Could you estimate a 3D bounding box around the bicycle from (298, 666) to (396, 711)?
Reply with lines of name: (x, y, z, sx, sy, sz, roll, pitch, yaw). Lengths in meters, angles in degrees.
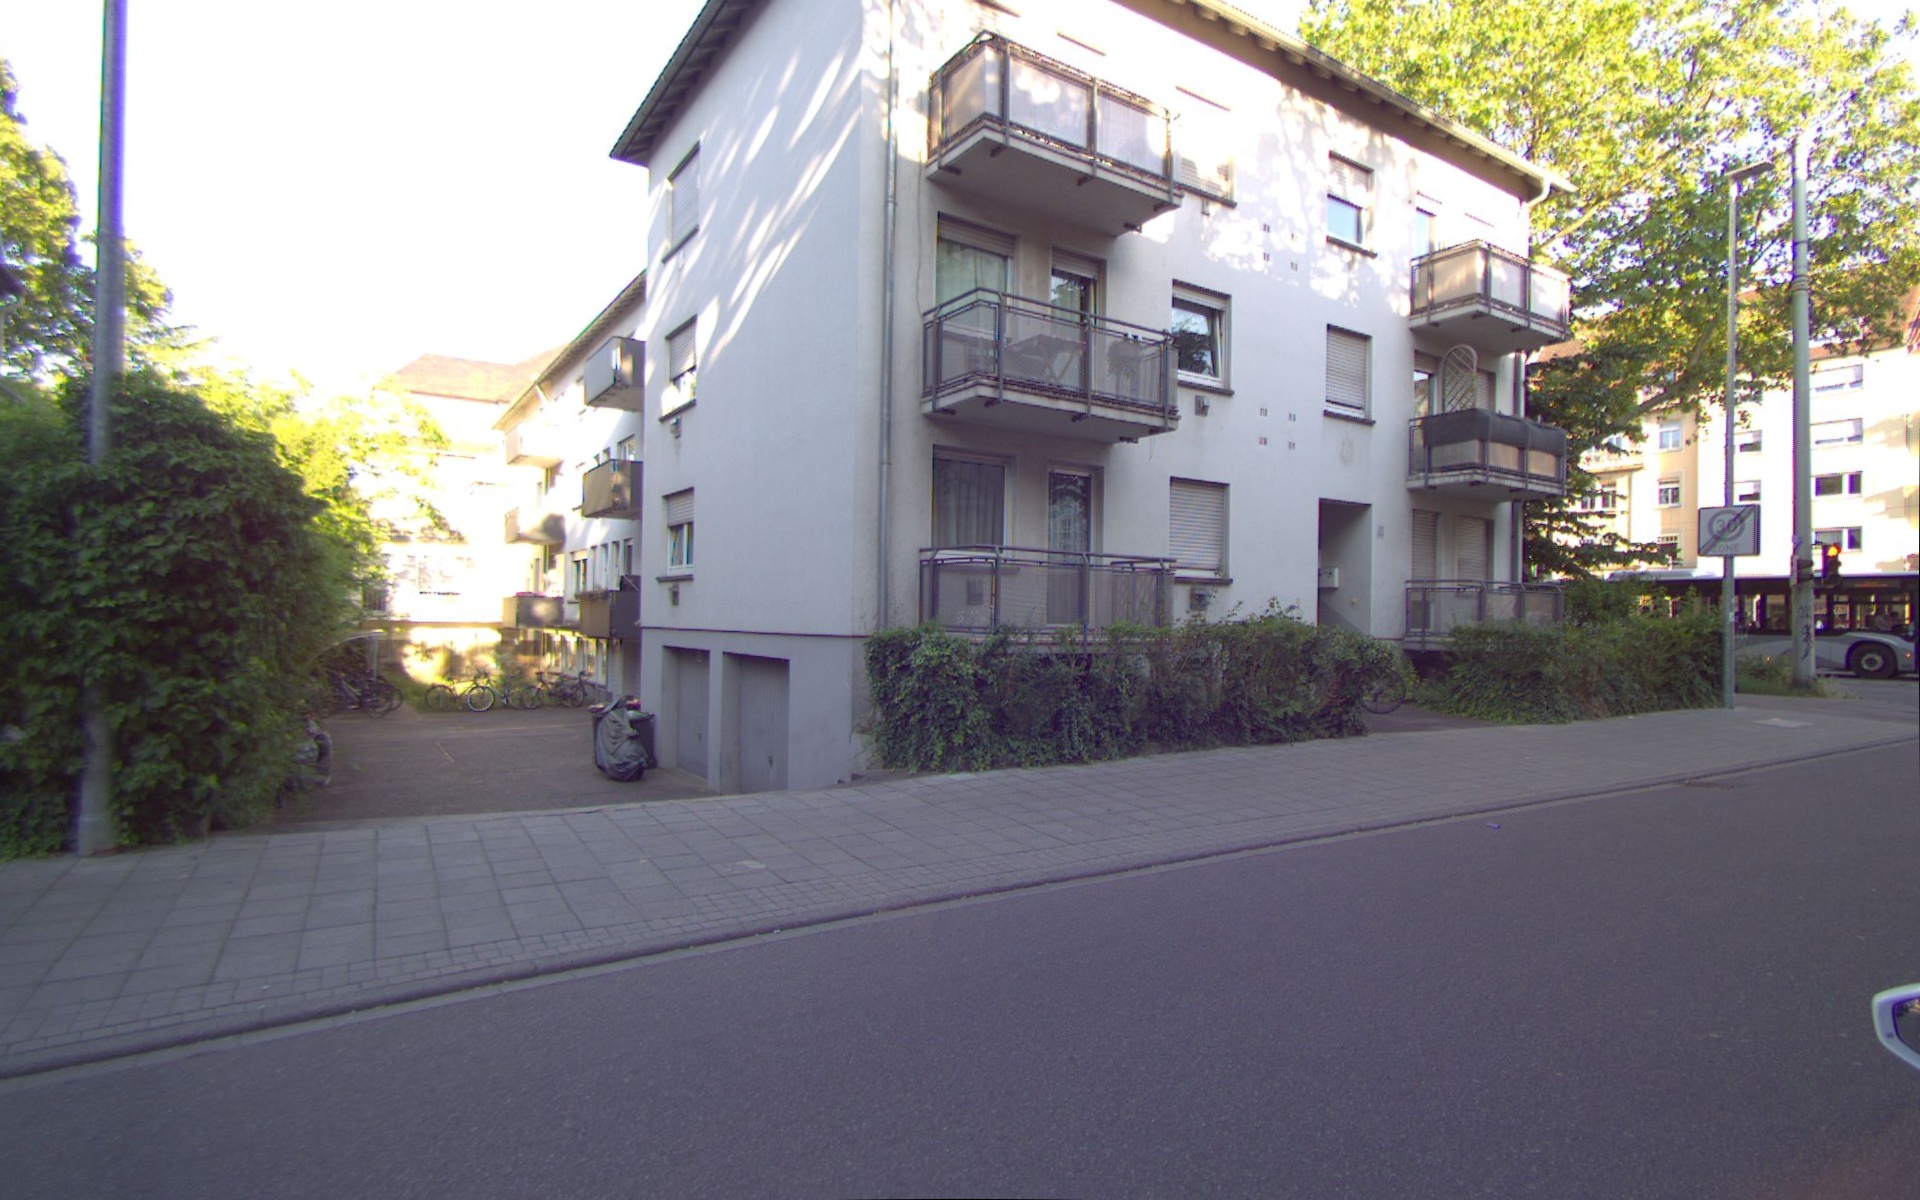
bicycle: (-17.162, 2.459, 28.195, 2.311, 1.192, 0.689, 1, -3, -31)

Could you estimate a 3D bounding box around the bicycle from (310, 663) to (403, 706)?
bicycle: (-17.785, 2.472, 29.646, 2.311, 1.192, 0.689, 1, -3, -31)

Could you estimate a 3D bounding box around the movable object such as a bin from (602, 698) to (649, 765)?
movable object such as a bin: (-6.009, 2.341, 18.026, 0.606, 1.129, 0.795, 1, -3, -34)

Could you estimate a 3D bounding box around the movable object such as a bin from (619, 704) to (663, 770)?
movable object such as a bin: (-5.486, 2.342, 17.254, 0.606, 1.051, 0.534, 1, -3, -34)

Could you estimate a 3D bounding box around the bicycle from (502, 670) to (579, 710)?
bicycle: (-12.050, 2.569, 28.879, 1.983, 1.085, 0.561, 1, -3, -31)

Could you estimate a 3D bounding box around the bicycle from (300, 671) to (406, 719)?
bicycle: (-15.460, 2.411, 25.642, 2.268, 1.148, 0.689, 1, -3, -31)

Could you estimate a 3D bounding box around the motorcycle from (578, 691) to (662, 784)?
motorcycle: (-5.485, 2.172, 16.171, 0.739, 1.313, 1.563, 1, -2, -41)

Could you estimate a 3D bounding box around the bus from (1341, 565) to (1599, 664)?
bus: (18.526, 0.532, 37.079, 2.885, 3.243, 8.115, 1, -1, -37)

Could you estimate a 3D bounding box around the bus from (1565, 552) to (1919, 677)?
bus: (24.104, 0.429, 29.718, 2.885, 3.243, 10.375, 1, -1, -37)

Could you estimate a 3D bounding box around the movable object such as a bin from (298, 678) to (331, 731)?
movable object such as a bin: (-14.473, 2.325, 22.507, 0.606, 1.129, 0.795, 1, -3, -34)

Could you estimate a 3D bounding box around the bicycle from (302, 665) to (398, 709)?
bicycle: (-17.511, 2.491, 28.919, 2.311, 1.192, 0.689, 1, -3, -31)

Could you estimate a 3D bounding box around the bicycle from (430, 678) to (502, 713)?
bicycle: (-13.699, 2.634, 27.871, 1.734, 0.890, 0.561, 1, -3, -30)

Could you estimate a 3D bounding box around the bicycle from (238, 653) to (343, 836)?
bicycle: (-8.671, 1.707, 13.126, 0.961, 1.917, 4.156, 1, -2, -32)

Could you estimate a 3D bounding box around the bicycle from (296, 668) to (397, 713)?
bicycle: (-16.715, 2.443, 27.449, 2.311, 1.148, 0.689, 1, -3, -31)

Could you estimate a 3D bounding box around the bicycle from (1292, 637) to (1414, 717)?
bicycle: (5.757, 1.118, 14.778, 1.590, 1.022, 0.517, 3, 1, 20)
